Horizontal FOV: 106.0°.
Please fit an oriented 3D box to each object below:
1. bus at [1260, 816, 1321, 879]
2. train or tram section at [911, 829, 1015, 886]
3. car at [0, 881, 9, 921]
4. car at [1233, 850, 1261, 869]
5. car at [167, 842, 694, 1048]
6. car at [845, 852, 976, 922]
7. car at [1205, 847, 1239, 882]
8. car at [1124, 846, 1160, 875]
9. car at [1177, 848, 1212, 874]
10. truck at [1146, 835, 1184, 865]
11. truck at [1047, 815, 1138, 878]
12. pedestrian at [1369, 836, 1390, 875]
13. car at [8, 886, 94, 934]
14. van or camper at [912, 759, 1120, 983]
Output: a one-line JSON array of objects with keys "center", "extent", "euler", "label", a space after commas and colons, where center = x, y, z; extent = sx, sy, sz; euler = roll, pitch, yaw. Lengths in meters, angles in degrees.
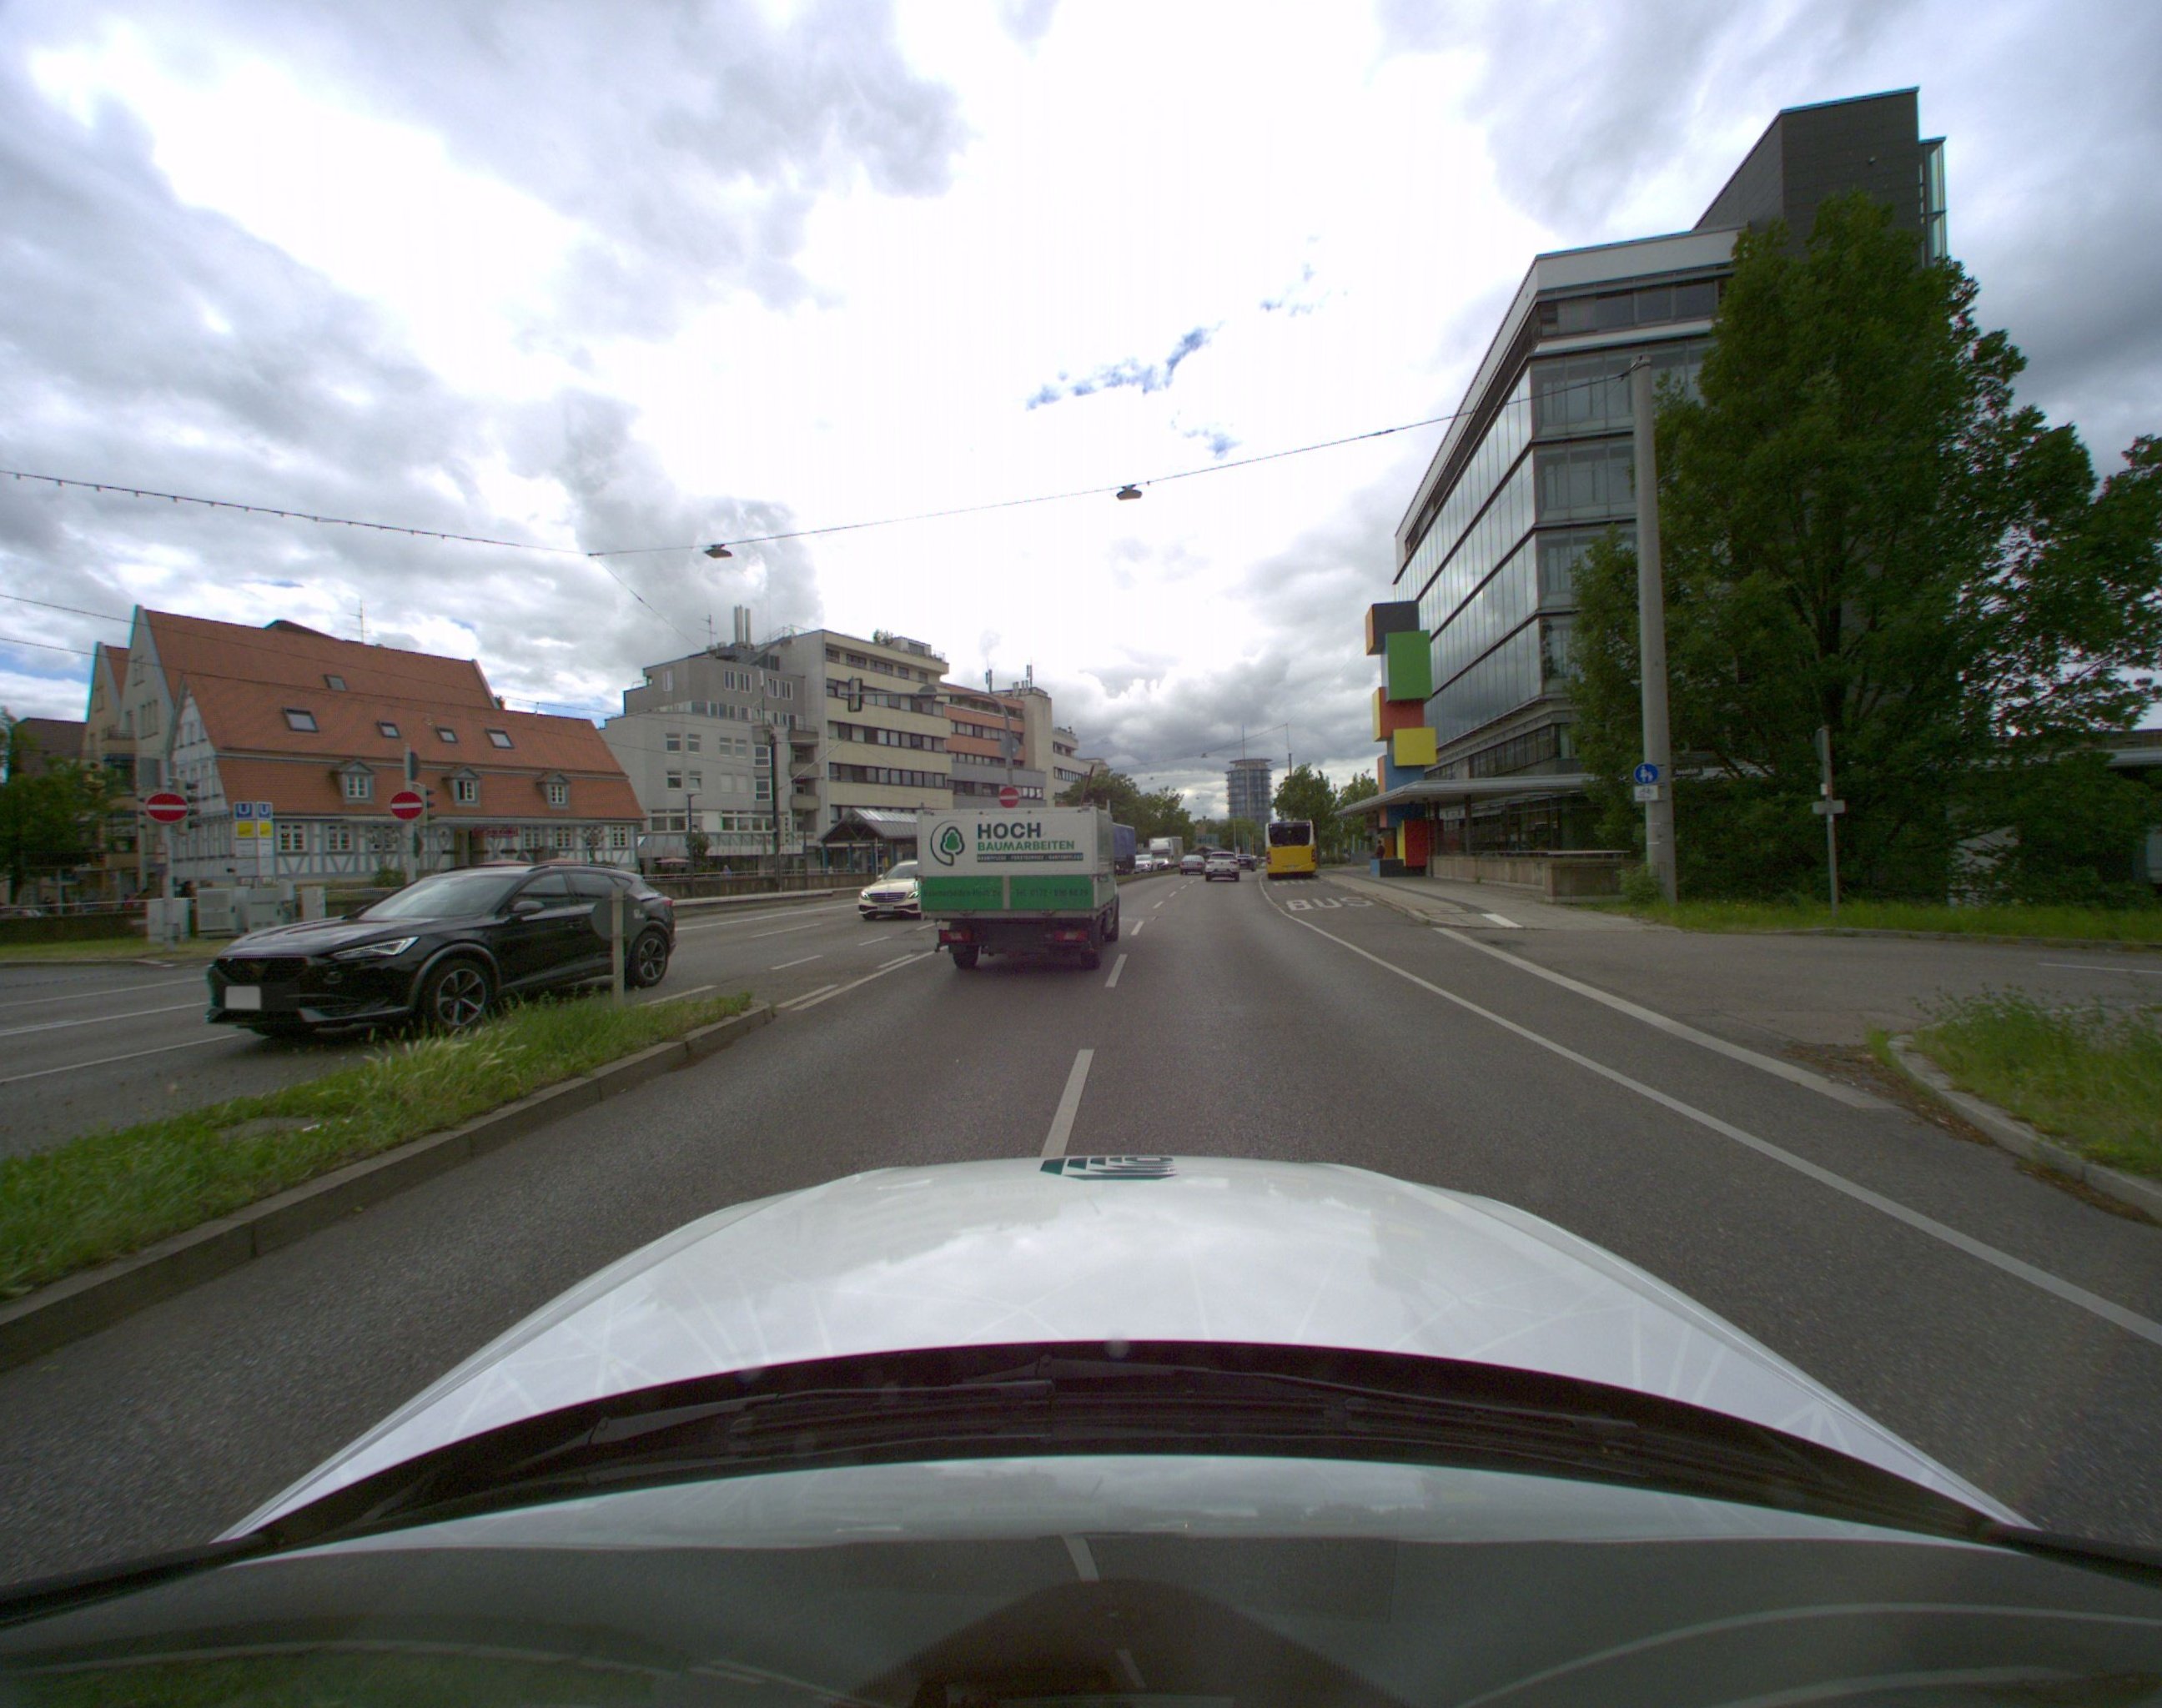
[{"center": [12.097, -0.382, 47.449], "extent": [2.933, 3.190, 9.965], "euler": [-3, 0, 13], "label": "bus"}, {"center": [-7.781, 0.223, 56.333], "extent": [2.542, 3.411, 13.126], "euler": [-2, 0, 12], "label": "train or tram section"}, {"center": [-45.563, 2.070, 33.049], "extent": [1.863, 1.584, 3.564], "euler": [-3, 4, -43], "label": "car"}, {"center": [14.638, 0.496, 71.640], "extent": [1.684, 1.515, 3.514], "euler": [-1, 2, 24], "label": "car"}, {"center": [-6.278, 0.761, 8.684], "extent": [1.888, 1.618, 4.282], "euler": [-2, -1, 6], "label": "car"}, {"center": [-4.409, 0.807, 21.888], "extent": [1.887, 1.618, 4.843], "euler": [-2, -1, 8], "label": "car"}, {"center": [7.662, 0.527, 44.146], "extent": [1.689, 1.547, 3.748], "euler": [2, 3, 10], "label": "car"}, {"center": [4.615, 0.448, 60.884], "extent": [1.980, 2.013, 5.213], "euler": [-1, 0, 12], "label": "car"}, {"center": [8.087, 0.482, 57.796], "extent": [1.685, 1.515, 3.756], "euler": [0, 4, 20], "label": "car"}, {"center": [9.228, -0.457, 88.240], "extent": [3.062, 3.028, 9.389], "euler": [-1, 0, 12], "label": "truck"}, {"center": [1.316, -0.584, 61.940], "extent": [2.932, 4.079, 16.667], "euler": [-1, 0, 15], "label": "truck"}, {"center": [14.380, 0.069, 39.278], "extent": [0.706, 1.816, 0.765], "euler": [-1, 0, 3], "label": "pedestrian"}, {"center": [-40.633, 2.146, 32.200], "extent": [3.948, 1.684, 2.013], "euler": [-2, 0, 39], "label": "car"}, {"center": [-0.636, 0.142, 12.691], "extent": [2.333, 2.661, 5.972], "euler": [0, 1, 4], "label": "van or camper"}]
